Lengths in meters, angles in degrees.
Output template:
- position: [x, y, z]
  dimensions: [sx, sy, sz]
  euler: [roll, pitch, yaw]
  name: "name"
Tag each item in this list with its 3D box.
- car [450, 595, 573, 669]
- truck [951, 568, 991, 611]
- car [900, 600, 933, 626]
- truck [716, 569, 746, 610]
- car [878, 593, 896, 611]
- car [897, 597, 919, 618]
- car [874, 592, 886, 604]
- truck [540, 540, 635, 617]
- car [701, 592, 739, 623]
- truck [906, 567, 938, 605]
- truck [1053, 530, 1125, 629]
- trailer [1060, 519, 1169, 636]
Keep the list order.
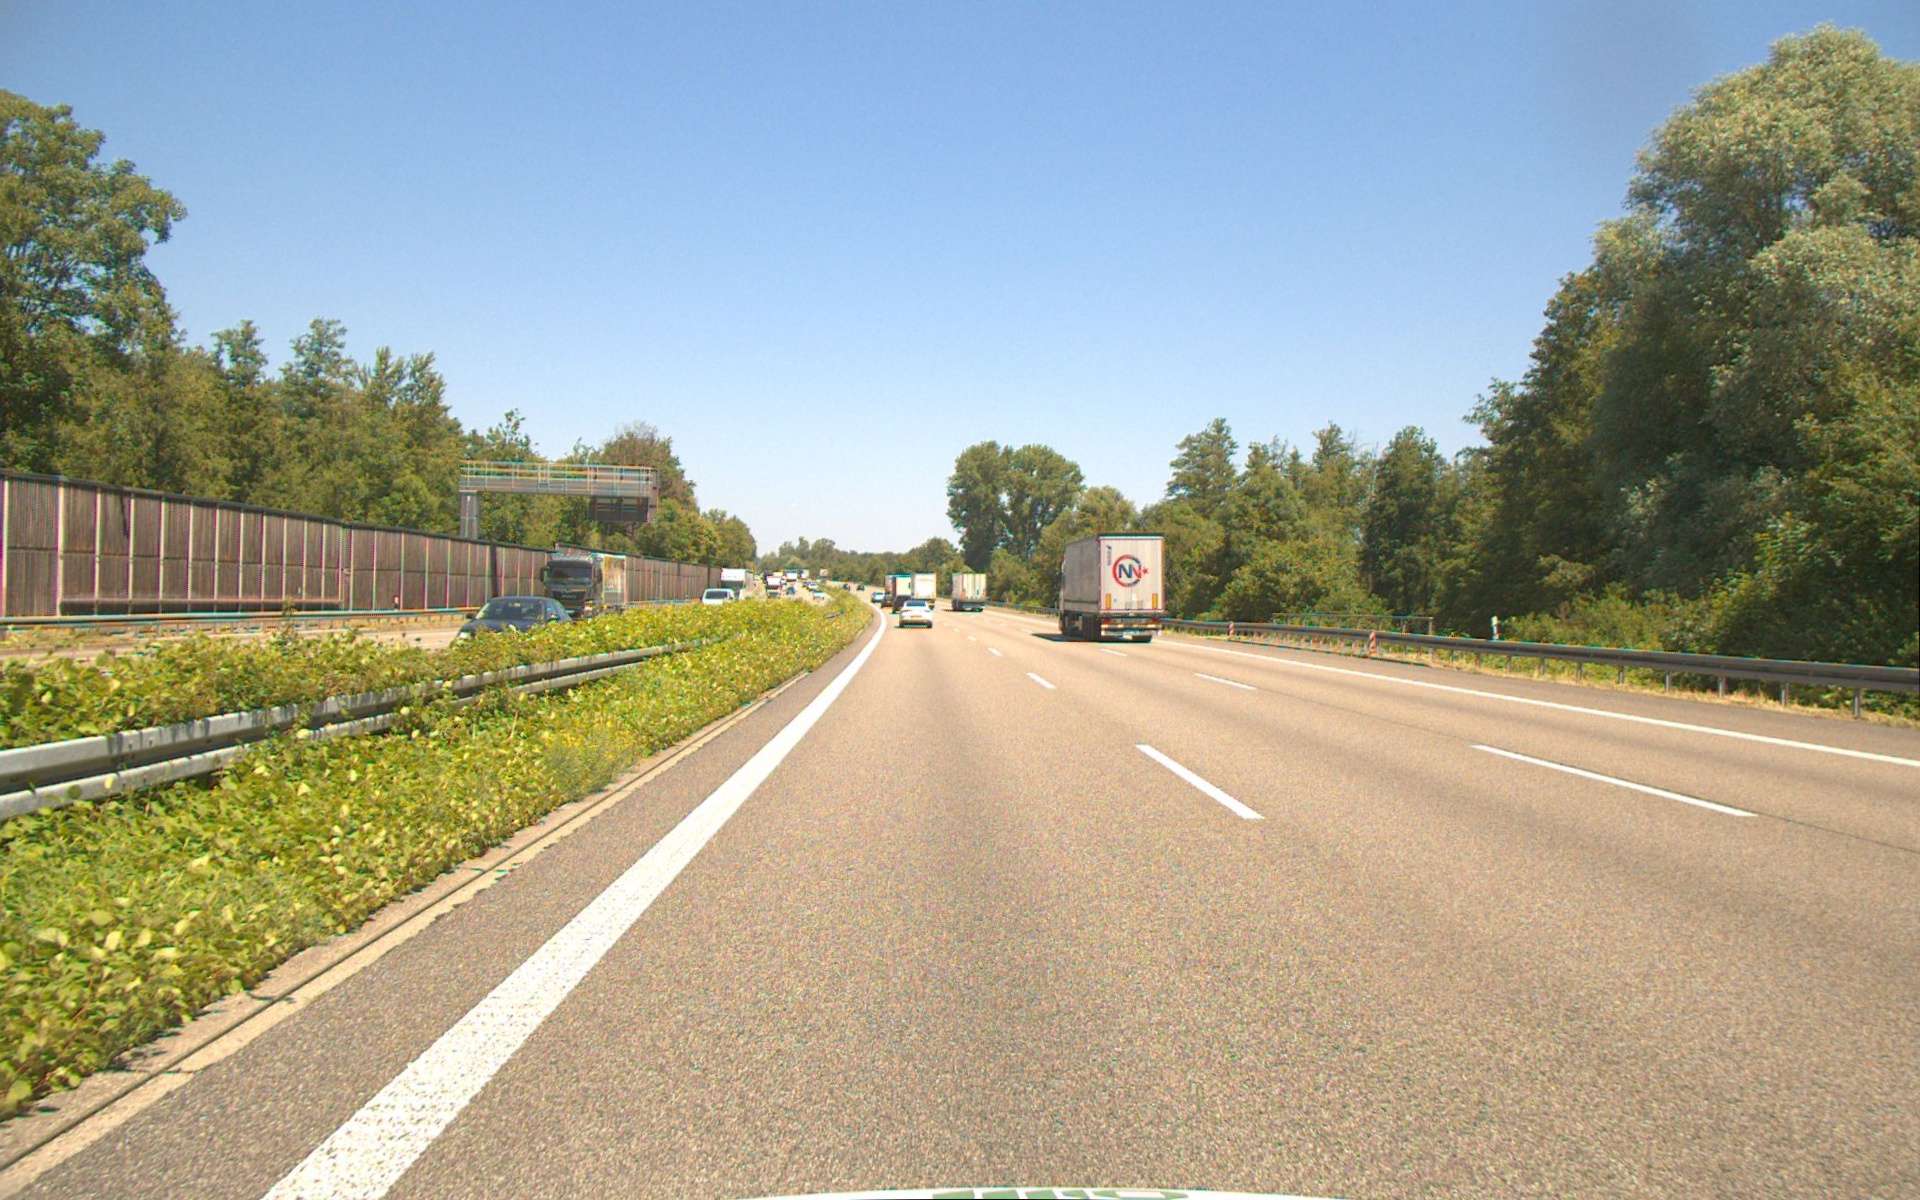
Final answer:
- position: [-9.122, 0.612, 33.937]
  dimensions: [1.593, 1.414, 3.912]
  euler: [0, 0, -2]
  name: "car"
- position: [1.112, -1.103, 176.012]
  dimensions: [3.423, 4.386, 10.979]
  euler: [1, 0, -4]
  name: "truck"
- position: [-2.369, 0.692, 90.702]
  dimensions: [1.680, 1.393, 3.375]
  euler: [0, 0, 0]
  name: "car"
- position: [-23.856, -1.108, 172.246]
  dimensions: [2.469, 4.137, 6.367]
  euler: [1, 0, -3]
  name: "truck"
- position: [-8.547, 0.258, 192.431]
  dimensions: [1.954, 2.049, 3.996]
  euler: [0, 0, -5]
  name: "car"
- position: [-4.879, 0.690, 154.125]
  dimensions: [1.954, 1.803, 3.998]
  euler: [0, 0, -3]
  name: "car"
- position: [-11.824, -0.315, 244.432]
  dimensions: [1.690, 1.814, 3.996]
  euler: [0, 0, -5]
  name: "car"
- position: [-18.749, -1.023, 83.969]
  dimensions: [2.812, 3.668, 9.948]
  euler: [1, 0, -2]
  name: "truck"
- position: [-16.125, 0.474, 111.275]
  dimensions: [1.953, 2.049, 5.100]
  euler: [0, 0, -2]
  name: "car"
- position: [-4.610, -1.634, 199.117]
  dimensions: [3.293, 4.386, 10.819]
  euler: [1, 0, -4]
  name: "truck"
- position: [5.876, -0.921, 76.156]
  dimensions: [2.554, 4.362, 5.432]
  euler: [1, 0, -3]
  name: "truck"
- position: [6.225, -0.866, 69.161]
  dimensions: [2.571, 4.335, 14.053]
  euler: [1, 0, -3]
  name: "trailer"
